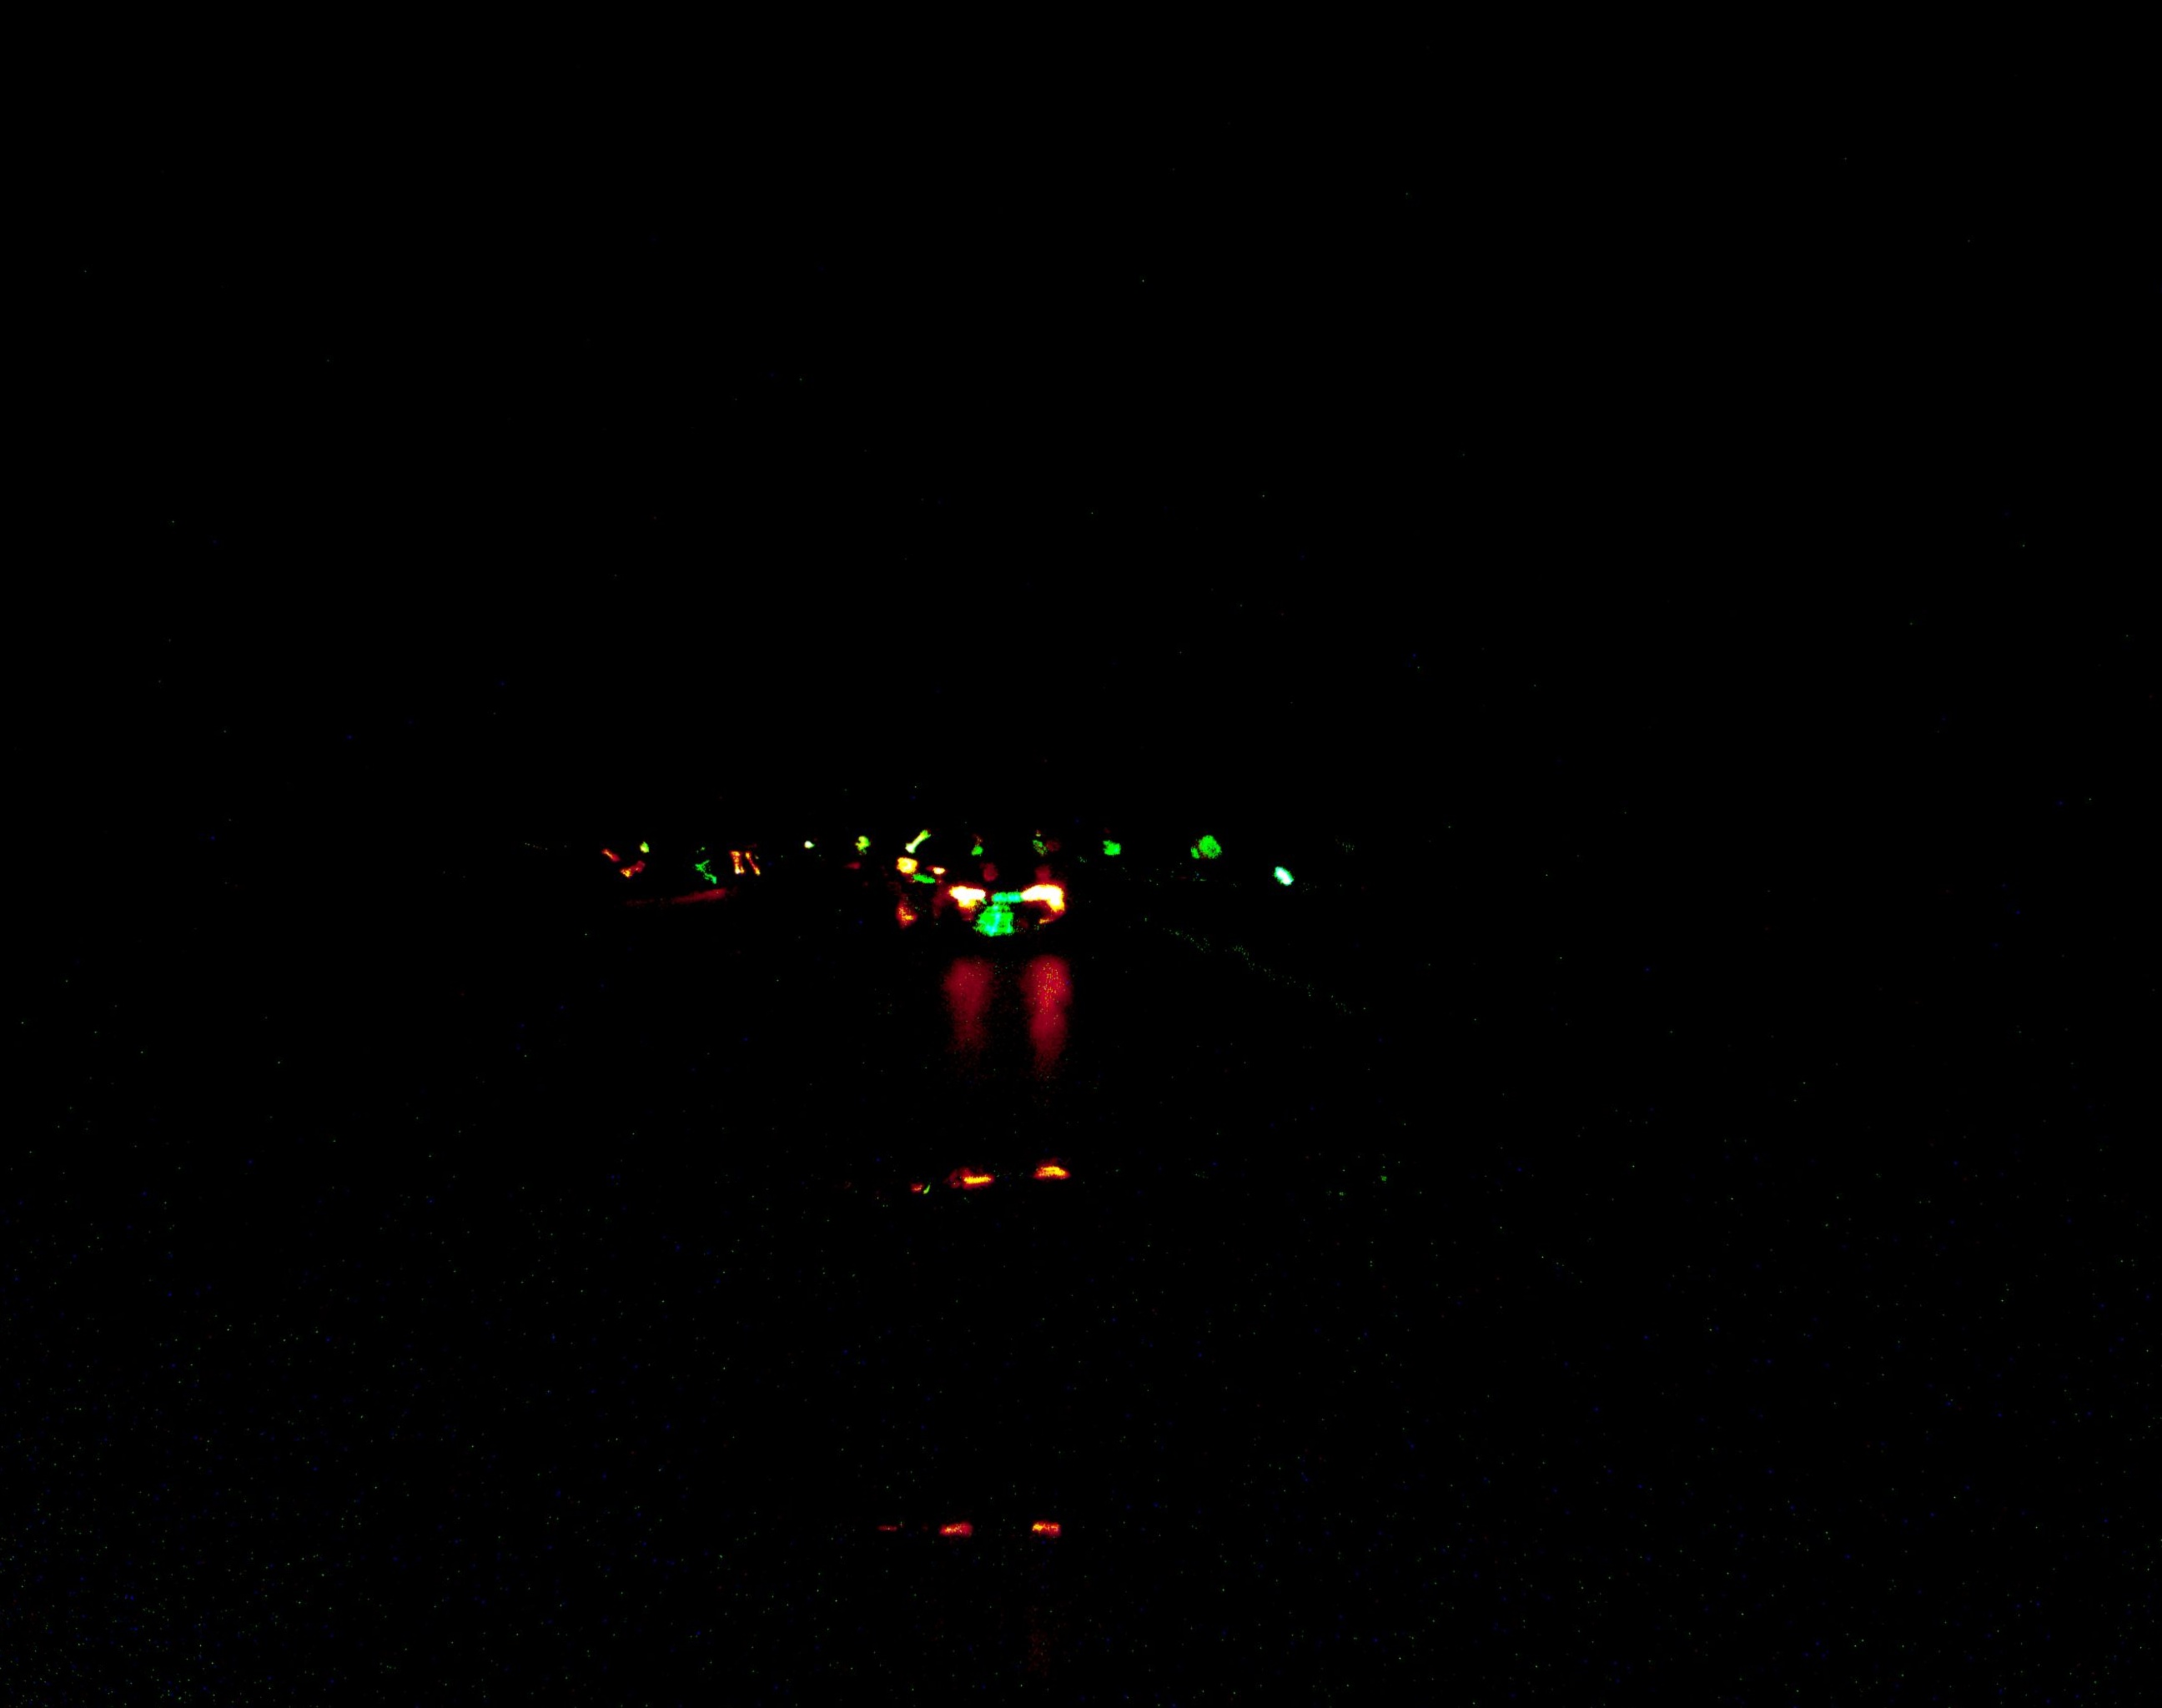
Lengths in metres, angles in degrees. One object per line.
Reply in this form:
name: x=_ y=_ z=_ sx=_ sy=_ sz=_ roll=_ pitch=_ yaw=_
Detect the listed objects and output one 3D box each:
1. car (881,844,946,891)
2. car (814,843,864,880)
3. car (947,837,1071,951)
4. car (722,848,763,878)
car: x=-6.739 y=0.491 z=32.426 sx=1.902 sy=1.720 sz=4.017 roll=-1 pitch=1 yaw=-21
car: x=-14.208 y=0.405 z=47.741 sx=1.907 sy=2.040 sz=4.007 roll=-1 pitch=0 yaw=-30
car: x=-1.354 y=0.557 z=14.440 sx=1.859 sy=1.647 sz=4.058 roll=-1 pitch=2 yaw=-8
car: x=-23.897 y=0.621 z=57.347 sx=1.909 sy=1.998 sz=4.003 roll=-2 pitch=1 yaw=-33
